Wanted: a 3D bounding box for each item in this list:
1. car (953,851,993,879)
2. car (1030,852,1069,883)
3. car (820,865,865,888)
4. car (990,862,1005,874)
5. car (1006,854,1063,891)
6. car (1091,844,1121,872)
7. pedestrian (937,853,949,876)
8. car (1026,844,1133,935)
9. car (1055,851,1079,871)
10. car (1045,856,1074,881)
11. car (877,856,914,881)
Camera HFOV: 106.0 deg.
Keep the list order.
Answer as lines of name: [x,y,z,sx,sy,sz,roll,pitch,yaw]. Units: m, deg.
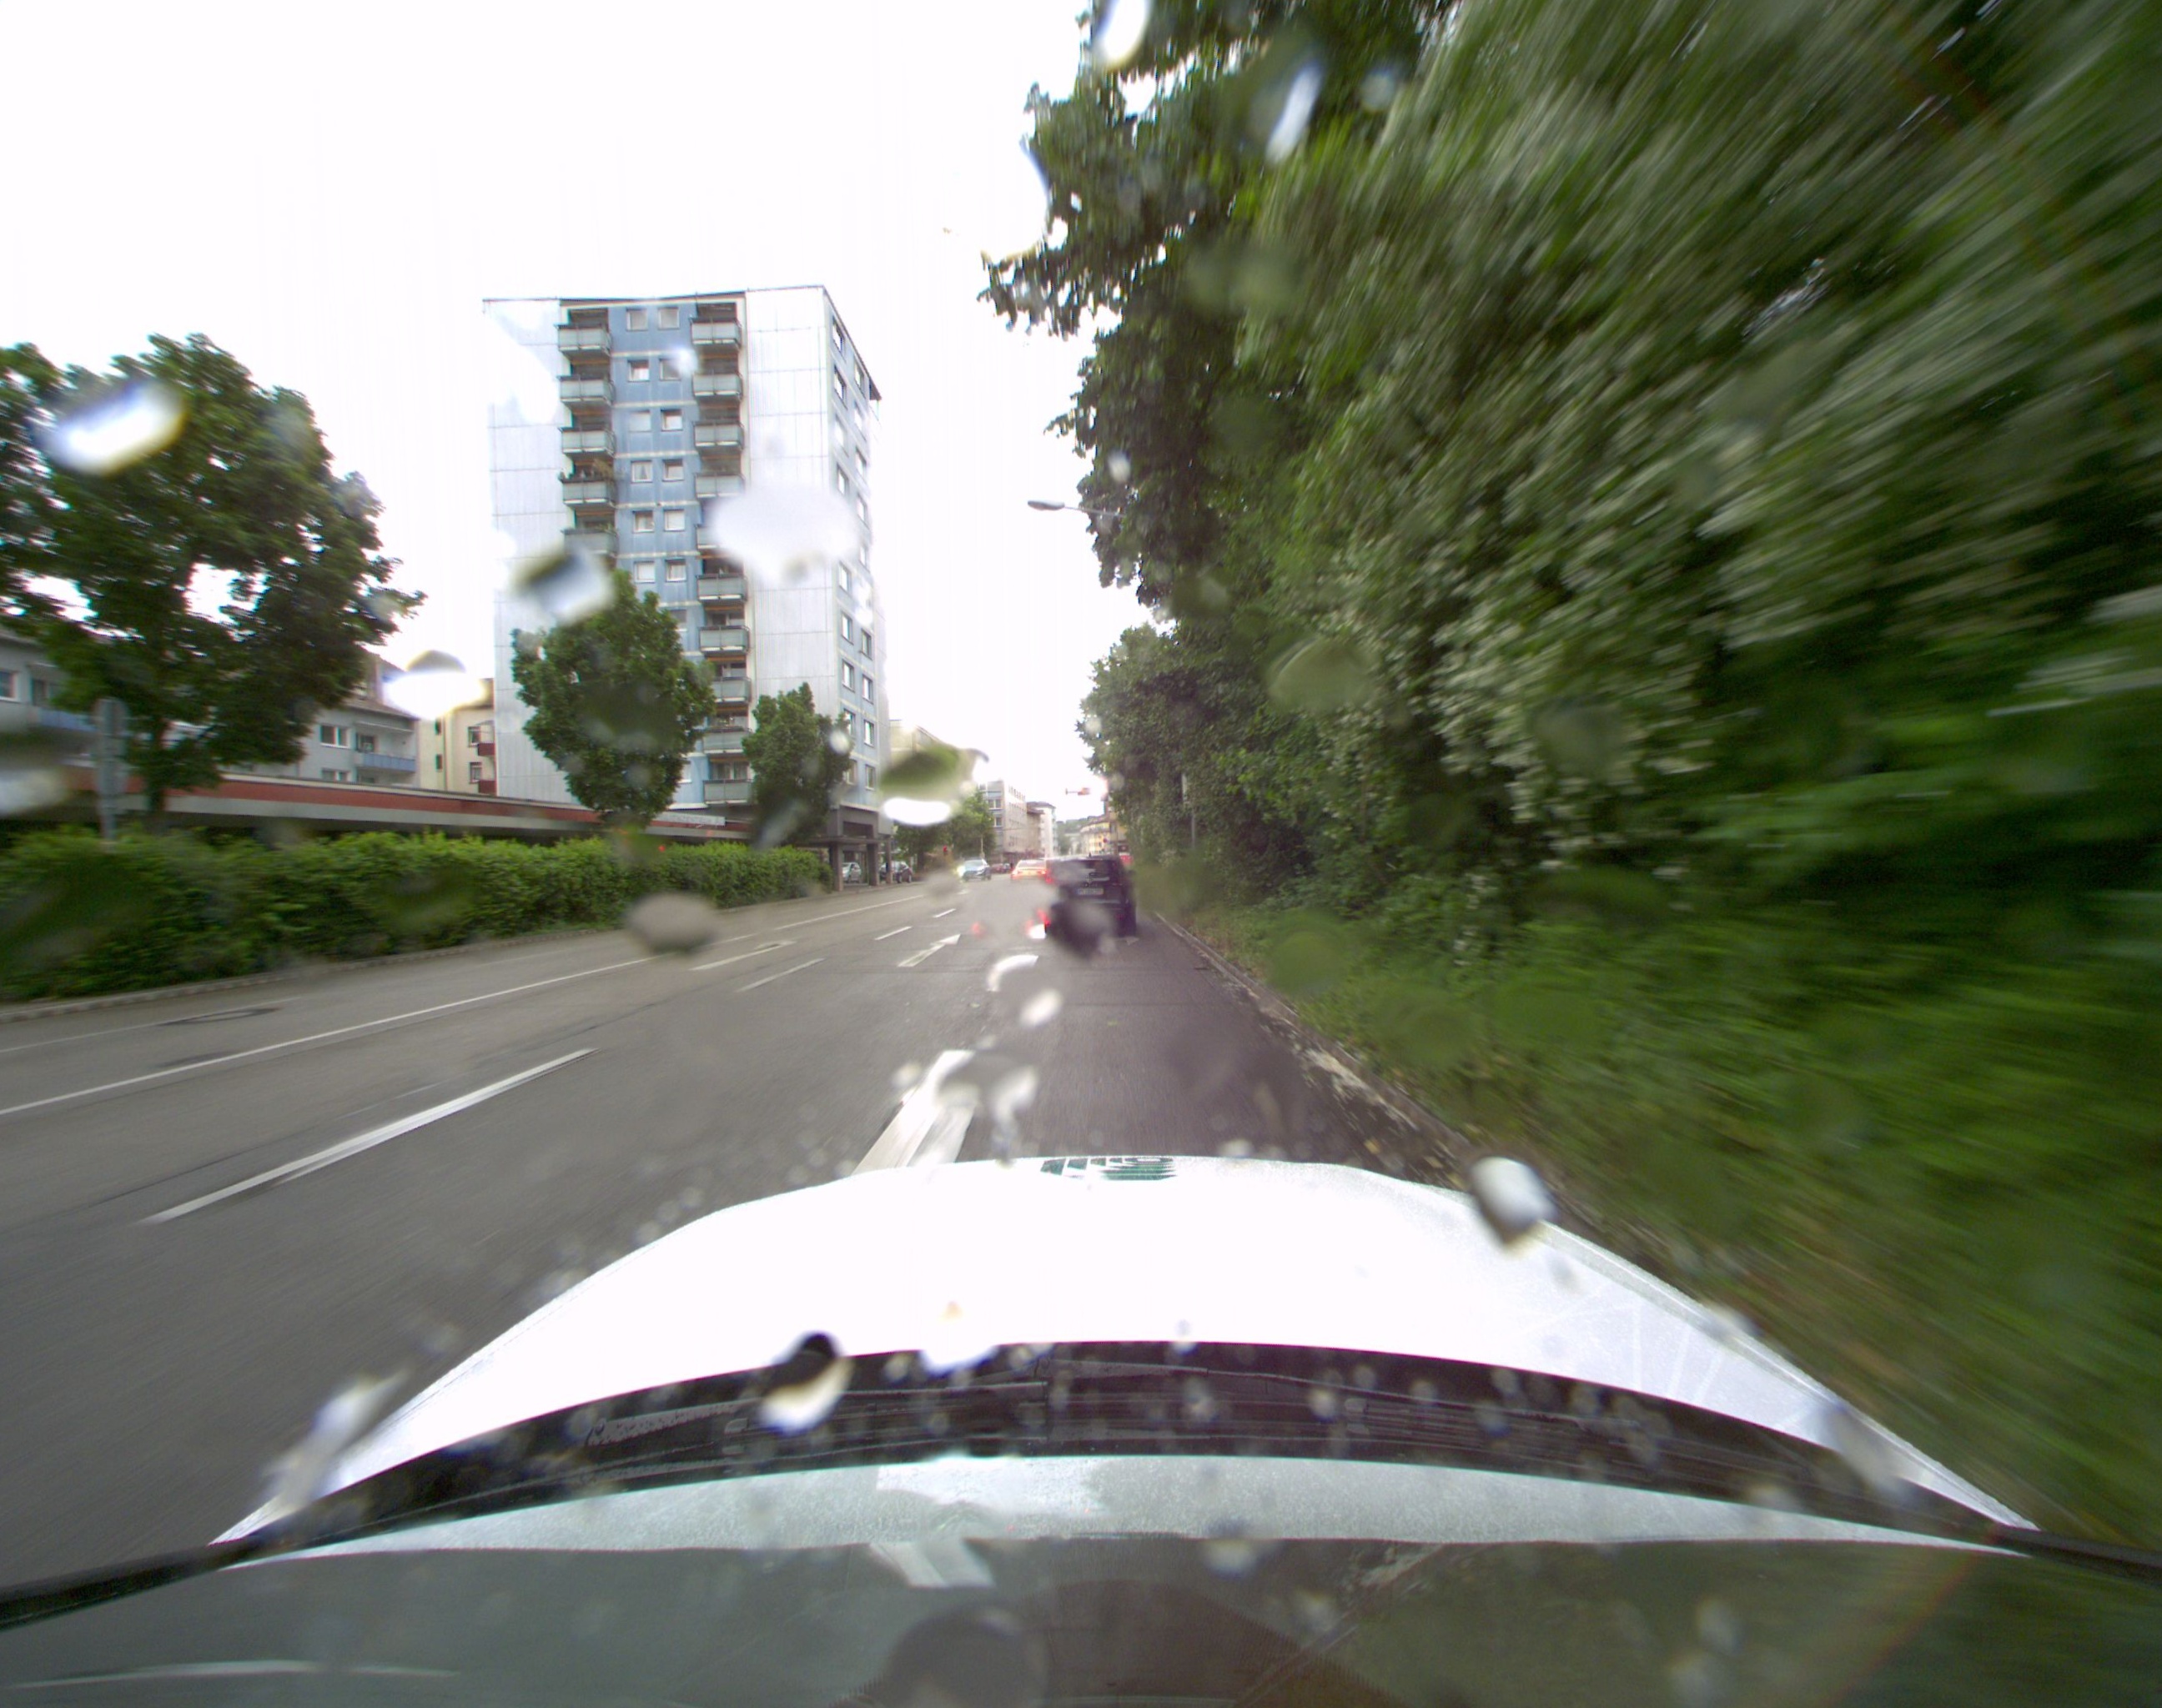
car: [-7.462,0.723,56.653,1.986,1.750,4.809,-2,0,2]
car: [-1.631,0.684,43.314,1.737,1.487,4.162,-2,0,1]
car: [-18.093,1.688,62.085,1.987,1.655,4.511,-2,0,1]
car: [-11.973,1.993,116.708,1.667,1.478,3.607,-3,0,0]
car: [-2.004,0.768,36.220,2.058,1.464,4.588,-2,0,2]
car: [2.002,0.318,63.060,1.984,2.013,4.006,-2,0,5]
pedestrian: [-12.502,0.972,73.896,0.939,2.013,0.884,-3,-1,-8]
car: [-0.016,0.660,17.234,1.953,1.653,4.000,-2,0,0]
car: [-1.035,0.508,62.834,1.761,1.444,3.999,-2,0,0]
car: [-1.283,0.861,50.024,1.607,1.420,3.967,-1,0,1]
car: [-13.339,1.042,58.712,1.533,1.706,4.289,-1,0,2]
